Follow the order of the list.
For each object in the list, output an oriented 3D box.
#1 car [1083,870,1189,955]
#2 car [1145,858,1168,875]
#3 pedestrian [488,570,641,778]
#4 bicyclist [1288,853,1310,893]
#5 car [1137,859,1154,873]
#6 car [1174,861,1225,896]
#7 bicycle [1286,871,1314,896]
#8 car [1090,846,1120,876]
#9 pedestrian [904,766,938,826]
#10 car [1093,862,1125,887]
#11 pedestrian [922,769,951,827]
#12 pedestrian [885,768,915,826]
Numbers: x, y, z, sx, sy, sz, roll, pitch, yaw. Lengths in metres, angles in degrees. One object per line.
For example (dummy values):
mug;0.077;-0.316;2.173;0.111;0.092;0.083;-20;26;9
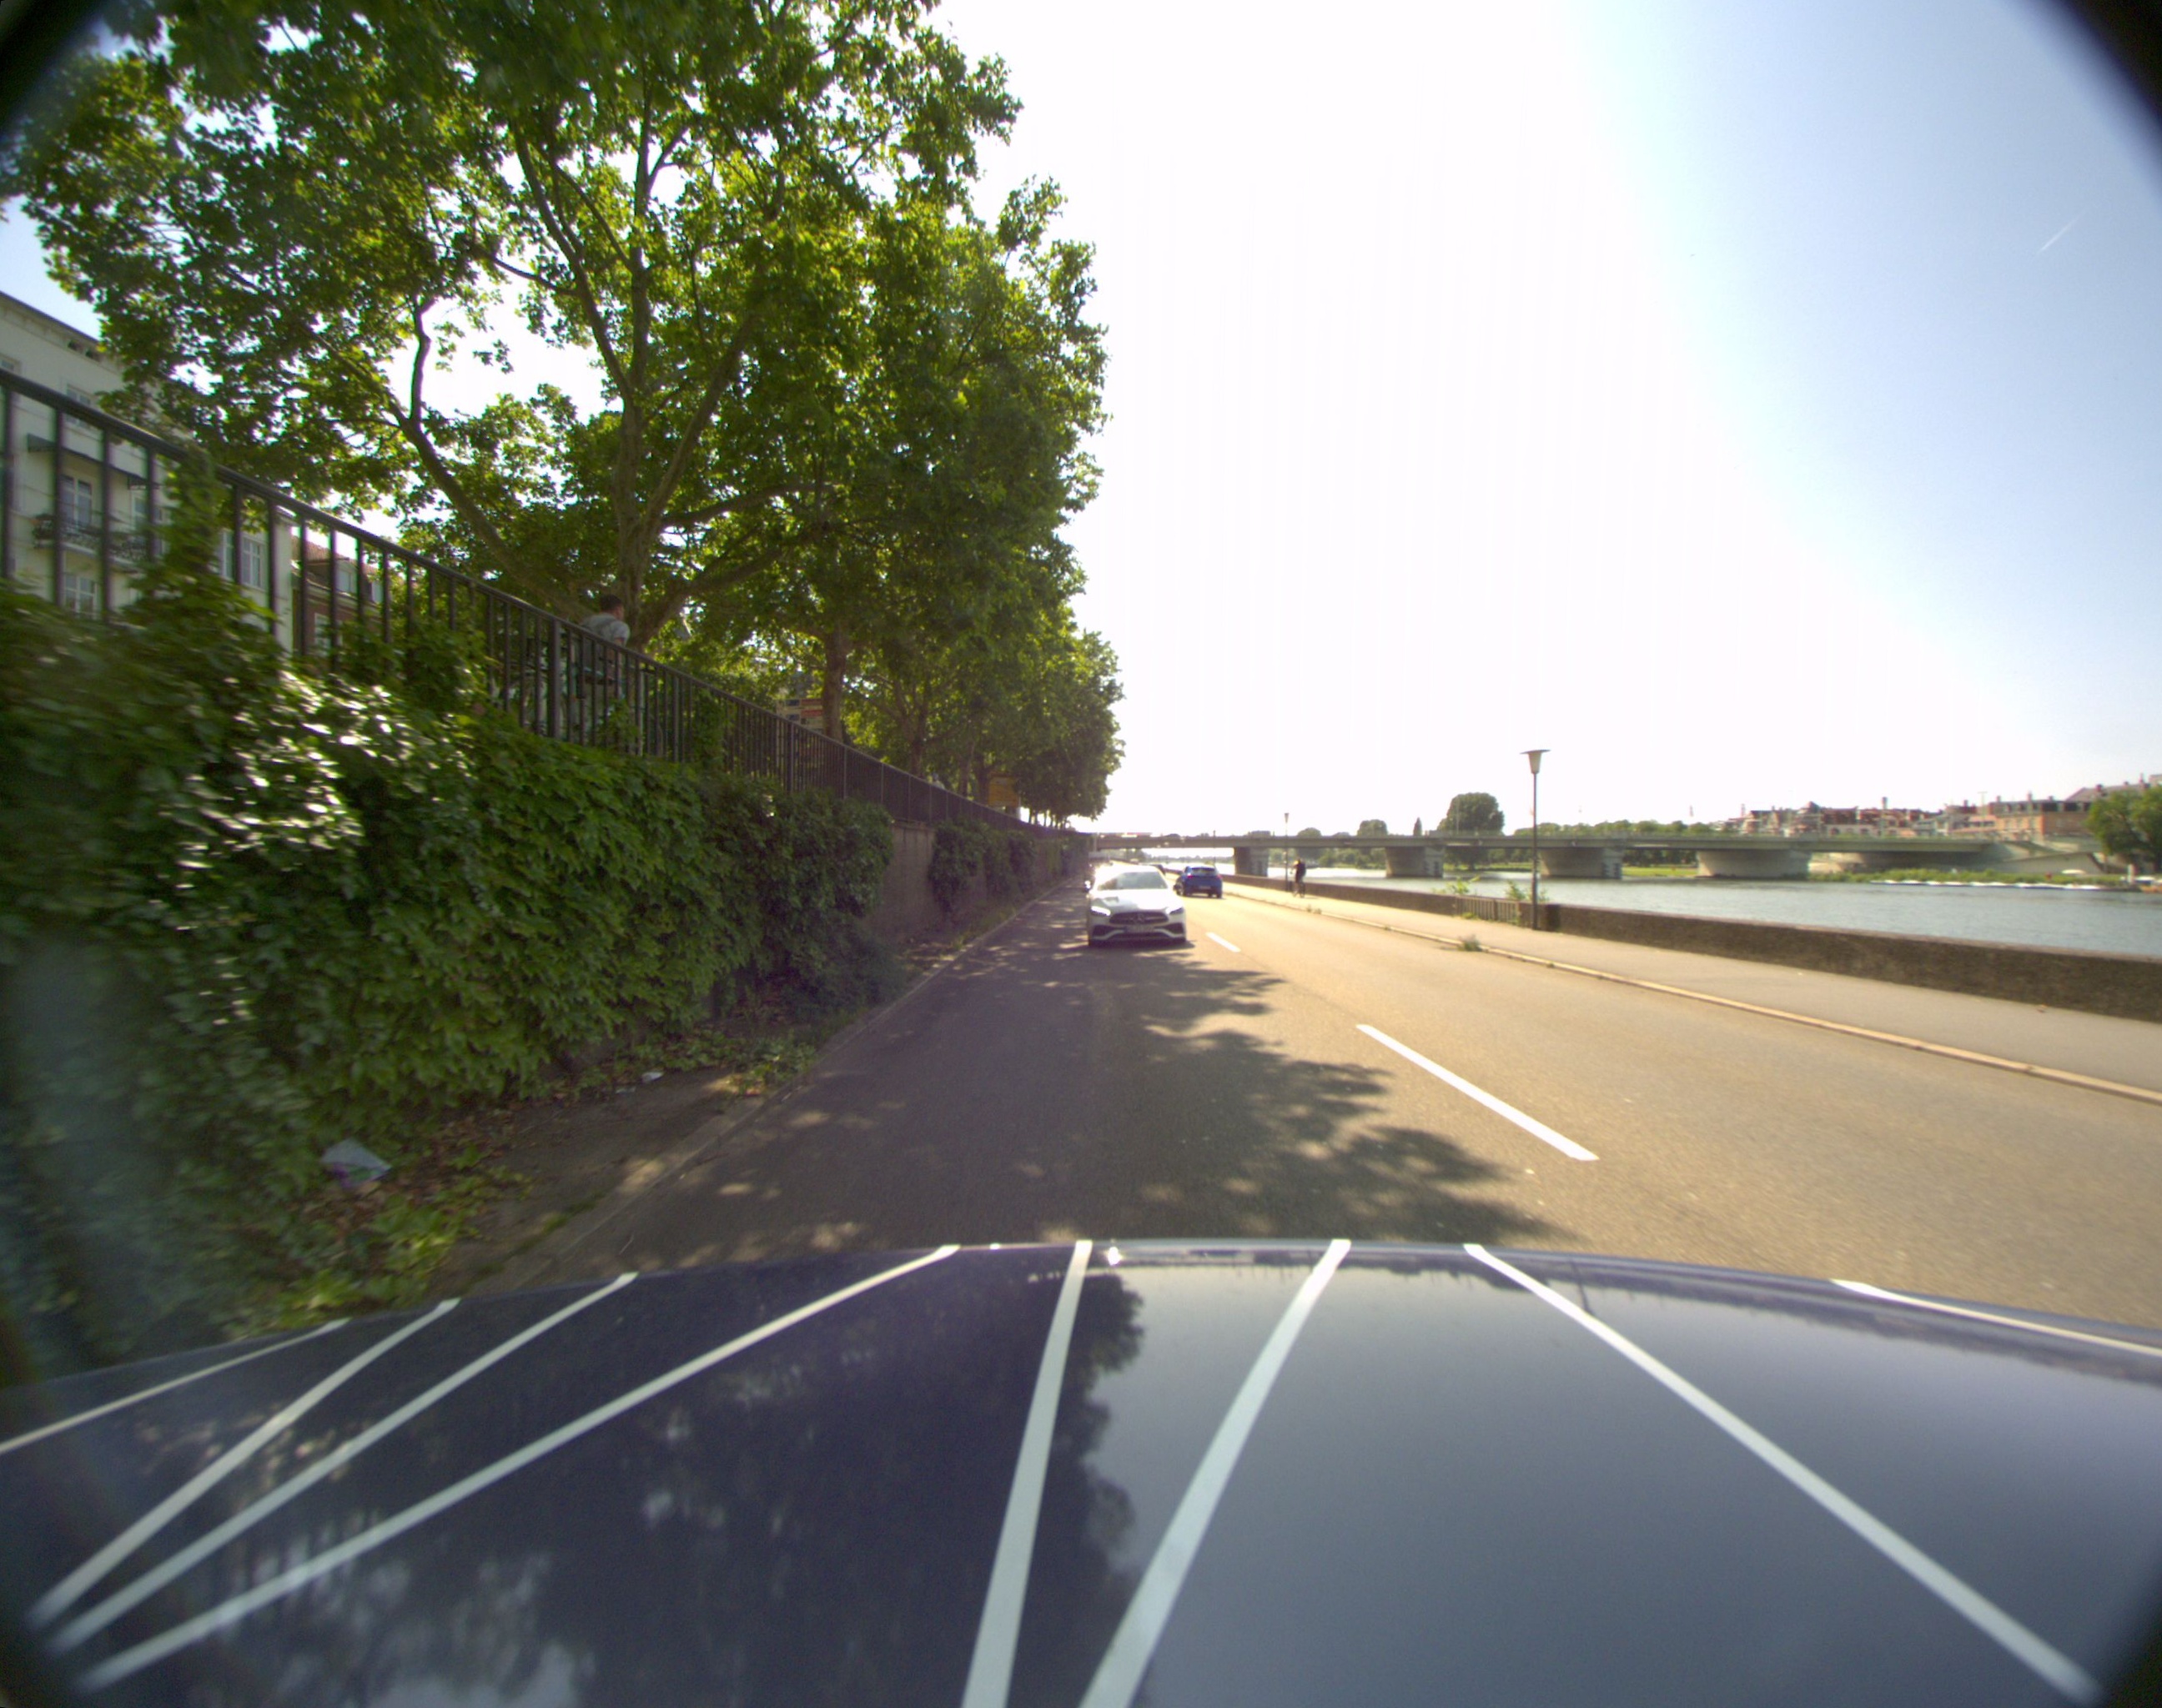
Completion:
car;0.998;1.082;15.626;1.830;1.411;4.552;-1;0;1
car;6.662;1.114;67.480;1.670;1.481;3.726;0;0;0
pedestrian;-4.399;-1.489;6.529;0.738;1.582;0.811;1;0;0
bicyclist;9.285;0.794;32.376;0.663;1.692;0.975;0;0;1
car;7.396;1.407;87.683;1.733;1.565;4.000;0;0;1
car;5.337;1.084;34.618;1.676;1.433;3.901;2;0;0
bicycle;9.291;1.236;32.351;0.654;0.977;1.944;0;0;1
car;2.016;0.548;64.976;2.351;2.428;6.208;1;0;0
pedestrian;-4.363;-1.567;20.784;0.738;1.582;0.811;1;0;0
car;1.626;1.174;45.333;1.756;1.385;4.619;0;0;0
pedestrian;-4.120;-1.575;21.697;0.666;1.582;0.765;1;0;0
pedestrian;-5.080;-1.594;21.391;0.666;1.582;0.651;1;0;0
